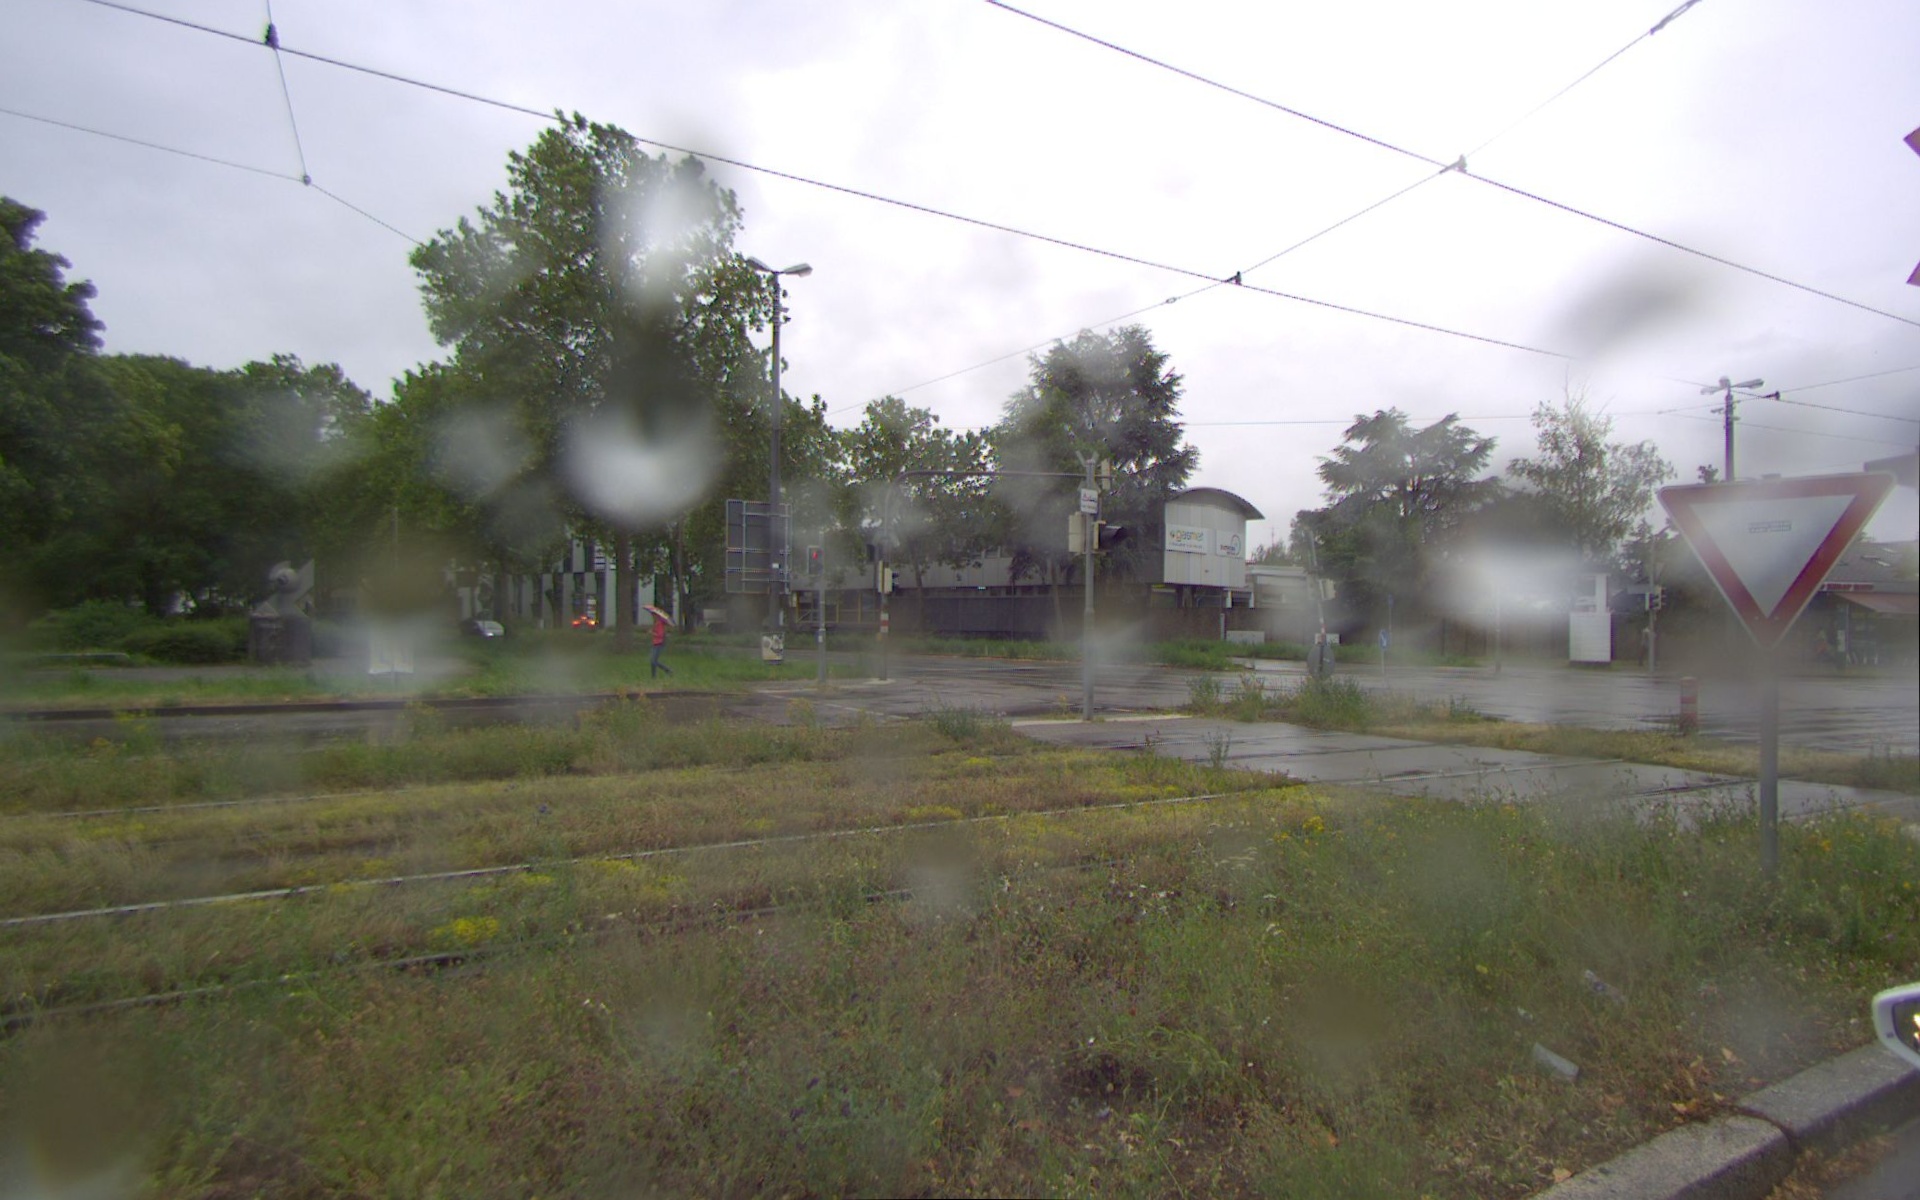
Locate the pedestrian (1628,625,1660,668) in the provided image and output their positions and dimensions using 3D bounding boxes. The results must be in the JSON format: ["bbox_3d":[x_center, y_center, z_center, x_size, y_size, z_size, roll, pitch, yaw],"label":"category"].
[{"bbox_3d":[29.970,2.040,43.988,0.872,1.821,0.725,1,1,-14],"label":"pedestrian"}]

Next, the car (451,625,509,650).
[{"bbox_3d":[-28.971,2.244,60.551,4.255,1.420,1.794,-1,-1,44],"label":"car"}]

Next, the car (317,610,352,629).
[{"bbox_3d":[-75.190,2.357,120.800,3.932,2.116,2.123,2,0,33],"label":"car"}]

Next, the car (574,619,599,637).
[{"bbox_3d":[-32.571,2.389,87.600,1.666,1.417,4.120,2,0,-16],"label":"car"}]

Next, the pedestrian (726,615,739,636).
[{"bbox_3d":[-18.664,2.058,82.430,0.810,1.690,0.672,2,0,27],"label":"pedestrian"}]

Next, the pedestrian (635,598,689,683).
[{"bbox_3d":[-7.296,0.978,24.567,0.998,2.017,0.945,2,0,-34],"label":"pedestrian"}]

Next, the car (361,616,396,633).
[{"bbox_3d":[-65.891,2.751,113.861,3.934,1.806,1.993,2,0,36],"label":"car"}]

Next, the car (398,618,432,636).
[{"bbox_3d":[-59.771,2.979,110.239,3.940,1.806,1.990,2,0,41],"label":"car"}]

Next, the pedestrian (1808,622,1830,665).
[{"bbox_3d":[41.925,2.126,49.025,0.715,2.040,0.790,2,0,43],"label":"pedestrian"}]
